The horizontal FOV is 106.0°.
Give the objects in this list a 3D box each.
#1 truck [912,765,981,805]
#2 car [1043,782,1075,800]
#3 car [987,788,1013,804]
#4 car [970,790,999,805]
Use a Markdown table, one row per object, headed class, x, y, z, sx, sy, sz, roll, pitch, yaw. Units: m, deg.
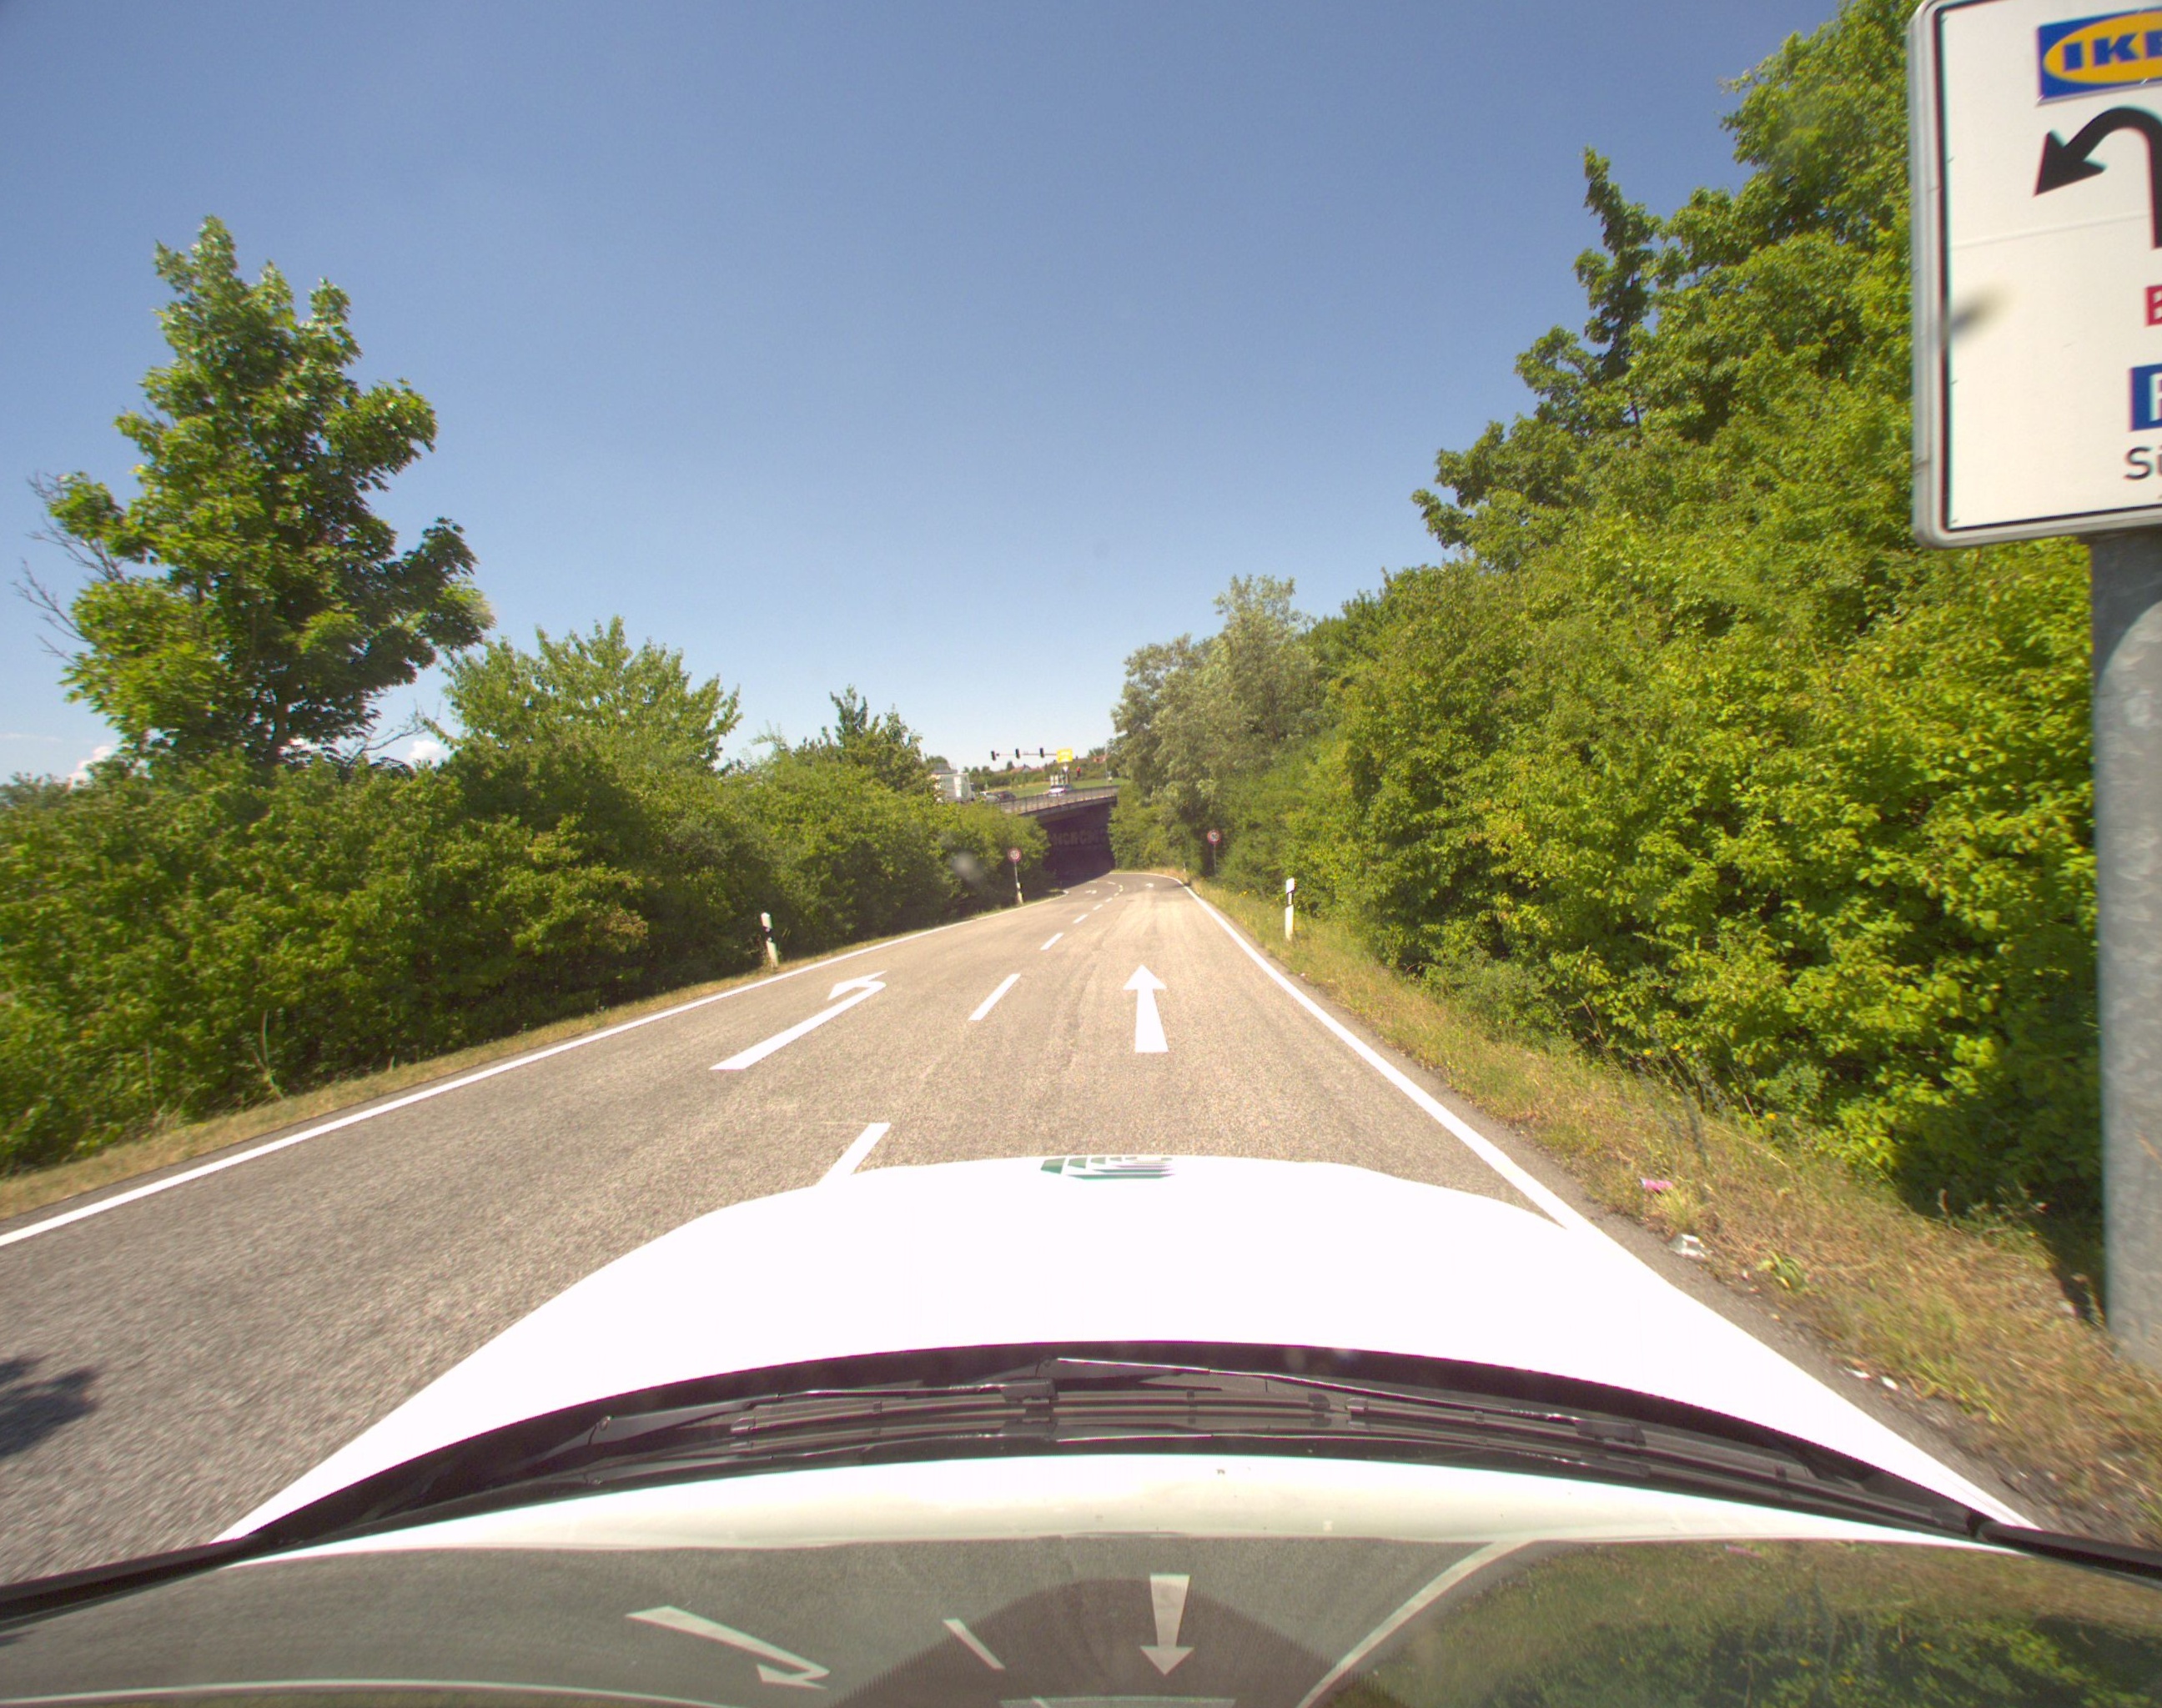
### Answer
| class | x | y | z | sx | sy | sz | roll | pitch | yaw |
| --- | --- | --- | --- | --- | --- | --- | --- | --- | --- |
| truck | -13.420 | -6.897 | 82.255 | 3.004 | 3.588 | 8.944 | -5 | 3 | 16 |
| car | -2.043 | -5.892 | 76.581 | 1.980 | 1.420 | 4.016 | -5 | 3 | 13 |
| car | -9.514 | -6.810 | 96.264 | 1.982 | 1.618 | 4.010 | -3 | 1 | 9 |
| car | -10.751 | -6.264 | 90.756 | 1.884 | 1.363 | 4.014 | -3 | 1 | 12 |
